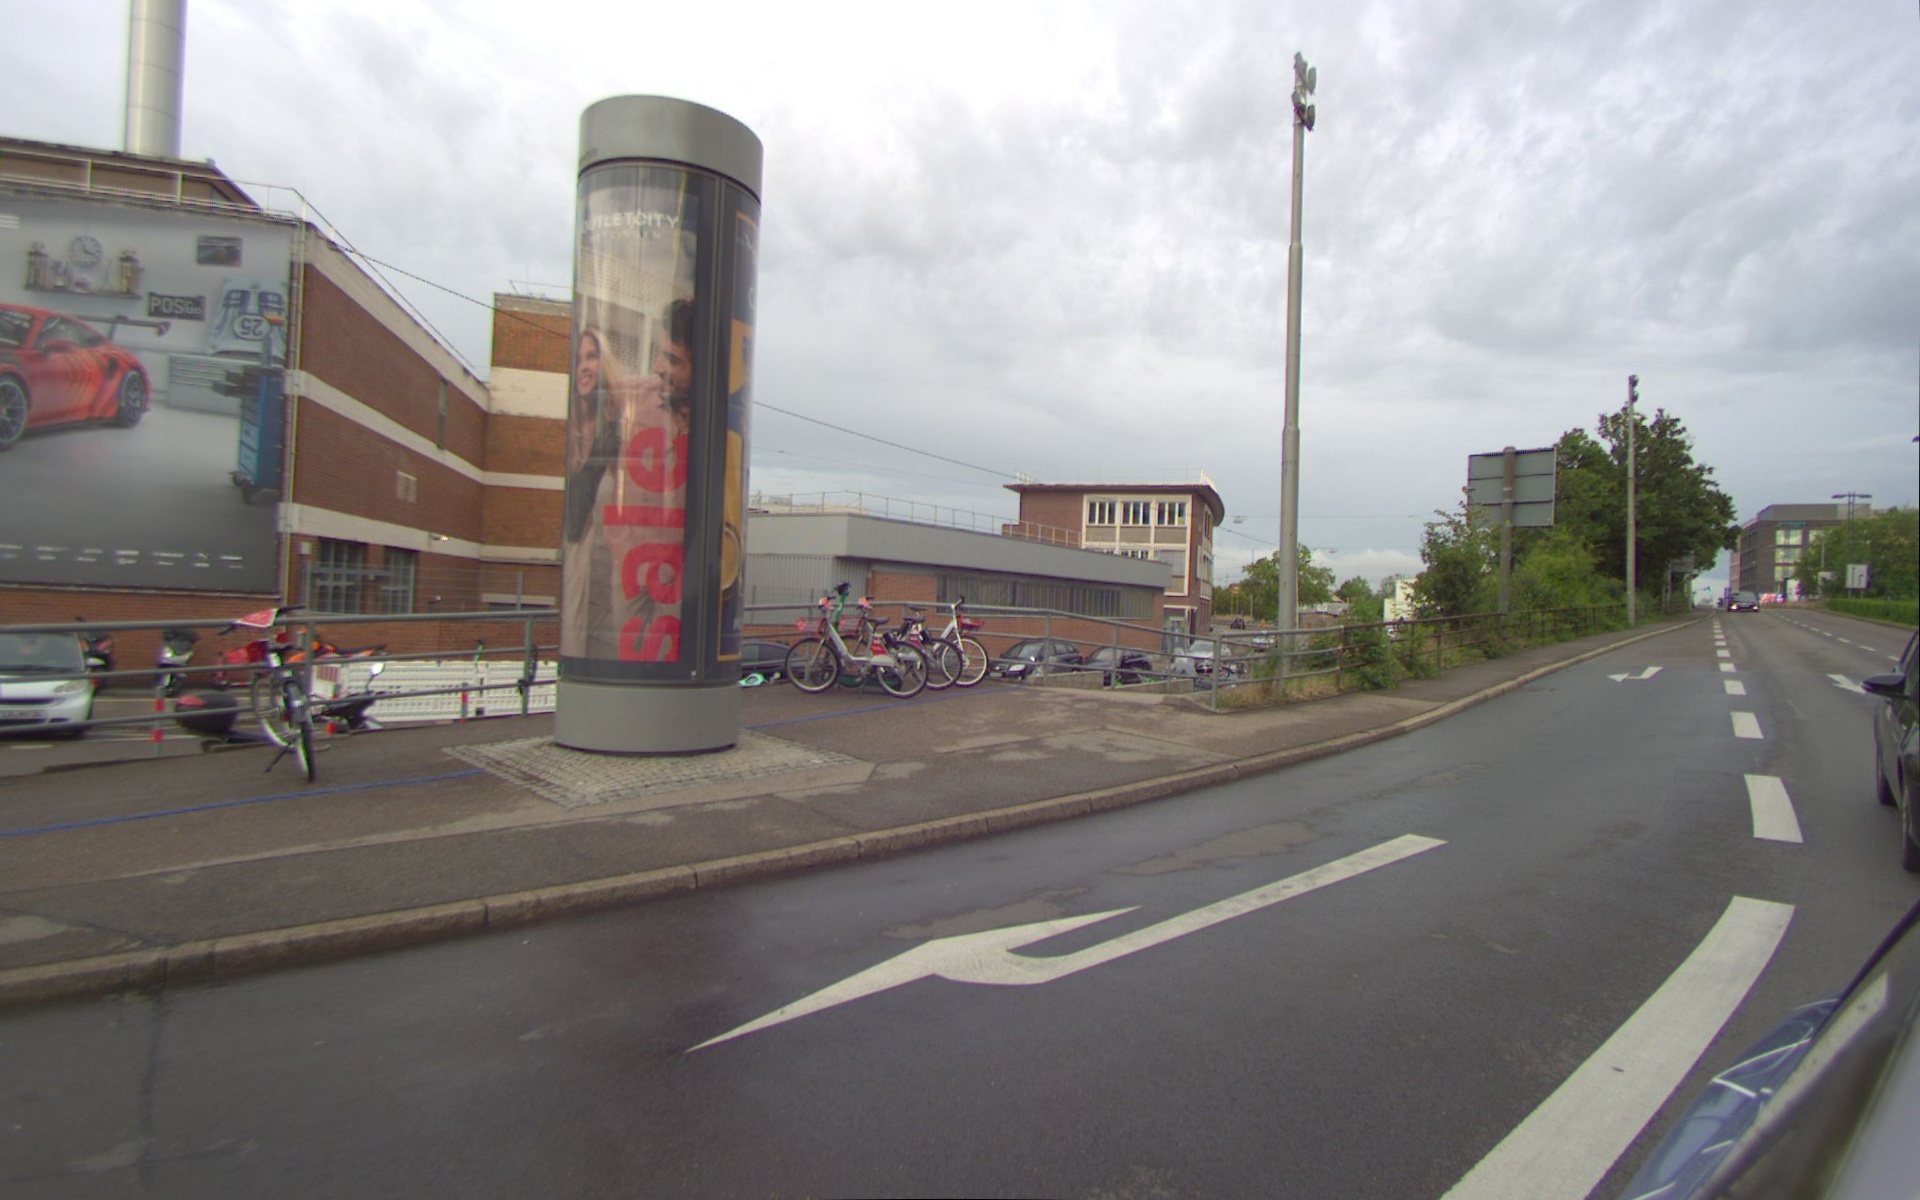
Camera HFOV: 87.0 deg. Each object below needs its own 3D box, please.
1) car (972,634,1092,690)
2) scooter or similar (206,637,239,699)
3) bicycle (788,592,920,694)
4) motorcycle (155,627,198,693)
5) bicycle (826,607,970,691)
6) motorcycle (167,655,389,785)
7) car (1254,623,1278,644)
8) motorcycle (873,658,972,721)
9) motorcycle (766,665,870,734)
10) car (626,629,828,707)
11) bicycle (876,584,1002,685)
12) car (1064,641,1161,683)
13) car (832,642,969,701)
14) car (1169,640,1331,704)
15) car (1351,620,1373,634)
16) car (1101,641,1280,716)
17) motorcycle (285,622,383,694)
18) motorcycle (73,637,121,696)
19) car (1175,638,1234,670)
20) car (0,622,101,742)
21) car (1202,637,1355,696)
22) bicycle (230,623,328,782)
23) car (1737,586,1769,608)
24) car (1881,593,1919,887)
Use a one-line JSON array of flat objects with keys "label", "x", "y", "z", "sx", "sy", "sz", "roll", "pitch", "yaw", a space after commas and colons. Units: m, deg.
[{"label": "car", "x": 2.501, "y": 2.040, "z": 34.236, "sx": 1.777, "sy": 1.688, "sz": 4.438, "roll": 1, "pitch": -1, "yaw": 41}, {"label": "scooter or similar", "x": -14.630, "y": 1.320, "z": 20.092, "sx": 0.495, "sy": 1.110, "sz": 1.639, "roll": -1, "pitch": 0, "yaw": -35}, {"label": "bicycle", "x": -1.214, "y": 0.481, "z": 11.662, "sx": 1.438, "sy": 1.087, "sz": 0.442, "roll": 2, "pitch": 2, "yaw": 9}, {"label": "motorcycle", "x": -15.221, "y": 1.146, "z": 19.686, "sx": 0.574, "sy": 1.166, "sz": 1.720, "roll": -1, "pitch": 0, "yaw": -35}, {"label": "bicycle", "x": -0.729, "y": 0.575, "z": 12.132, "sx": 1.673, "sy": 0.933, "sz": 0.486, "roll": 1, "pitch": 1, "yaw": 4}, {"label": "motorcycle", "x": -5.737, "y": 0.971, "z": 8.595, "sx": 0.400, "sy": 0.901, "sz": 1.521, "roll": 1, "pitch": 1, "yaw": 36}, {"label": "car", "x": 23.161, "y": 2.526, "z": 76.511, "sx": 1.698, "sy": 1.444, "sz": 3.976, "roll": 1, "pitch": 0, "yaw": 18}, {"label": "motorcycle", "x": -0.617, "y": 1.452, "z": 16.545, "sx": 1.599, "sy": 0.933, "sz": 0.418, "roll": 0, "pitch": 0, "yaw": 25}, {"label": "motorcycle", "x": -2.147, "y": 1.481, "z": 15.201, "sx": 1.600, "sy": 0.933, "sz": 0.417, "roll": 0, "pitch": 0, "yaw": 27}, {"label": "car", "x": -5.383, "y": 1.514, "z": 23.887, "sx": 1.880, "sy": 1.570, "sz": 4.445, "roll": 1, "pitch": -1, "yaw": 38}, {"label": "bicycle", "x": -0.274, "y": 0.414, "z": 12.852, "sx": 1.527, "sy": 1.169, "sz": 0.448, "roll": 3, "pitch": 3, "yaw": 22}, {"label": "car", "x": 5.939, "y": 2.338, "z": 39.018, "sx": 1.713, "sy": 1.422, "sz": 4.211, "roll": 1, "pitch": -1, "yaw": 41}, {"label": "car", "x": -1.632, "y": 1.975, "z": 28.983, "sx": 1.712, "sy": 1.444, "sz": 3.943, "roll": 1, "pitch": -1, "yaw": 39}, {"label": "car", "x": 7.698, "y": 1.864, "z": 27.168, "sx": 1.688, "sy": 1.444, "sz": 3.999, "roll": 2, "pitch": -1, "yaw": -36}, {"label": "car", "x": 44.980, "y": 2.972, "z": 113.213, "sx": 1.695, "sy": 1.444, "sz": 3.982, "roll": 1, "pitch": 0, "yaw": 14}, {"label": "car", "x": 5.351, "y": 1.783, "z": 23.954, "sx": 1.688, "sy": 1.444, "sz": 3.999, "roll": 2, "pitch": -1, "yaw": -36}, {"label": "motorcycle", "x": -12.866, "y": 1.168, "z": 20.835, "sx": 0.521, "sy": 1.350, "sz": 1.646, "roll": -1, "pitch": 0, "yaw": 38}, {"label": "motorcycle", "x": -16.159, "y": 1.226, "z": 18.968, "sx": 0.531, "sy": 0.985, "sz": 1.616, "roll": -1, "pitch": 0, "yaw": -35}, {"label": "car", "x": 12.264, "y": 2.653, "z": 50.625, "sx": 1.720, "sy": 1.406, "sz": 3.955, "roll": 1, "pitch": -1, "yaw": 31}, {"label": "car", "x": -14.075, "y": 1.145, "z": 15.276, "sx": 1.541, "sy": 1.508, "sz": 3.992, "roll": 2, "pitch": -1, "yaw": -42}, {"label": "car", "x": 9.097, "y": 1.850, "z": 29.180, "sx": 1.688, "sy": 1.444, "sz": 3.999, "roll": 2, "pitch": -1, "yaw": -36}, {"label": "bicycle", "x": -4.825, "y": 0.663, "z": 7.132, "sx": 0.414, "sy": 0.933, "sz": 1.615, "roll": 1, "pitch": 0, "yaw": -39}, {"label": "car", "x": 57.323, "y": -0.234, "z": 73.237, "sx": 1.740, "sy": 1.493, "sz": 4.014, "roll": 0, "pitch": 1, "yaw": 37}, {"label": "car", "x": 6.784, "y": 0.732, "z": 6.081, "sx": 1.687, "sy": 1.526, "sz": 3.953, "roll": 0, "pitch": 1, "yaw": 40}]
